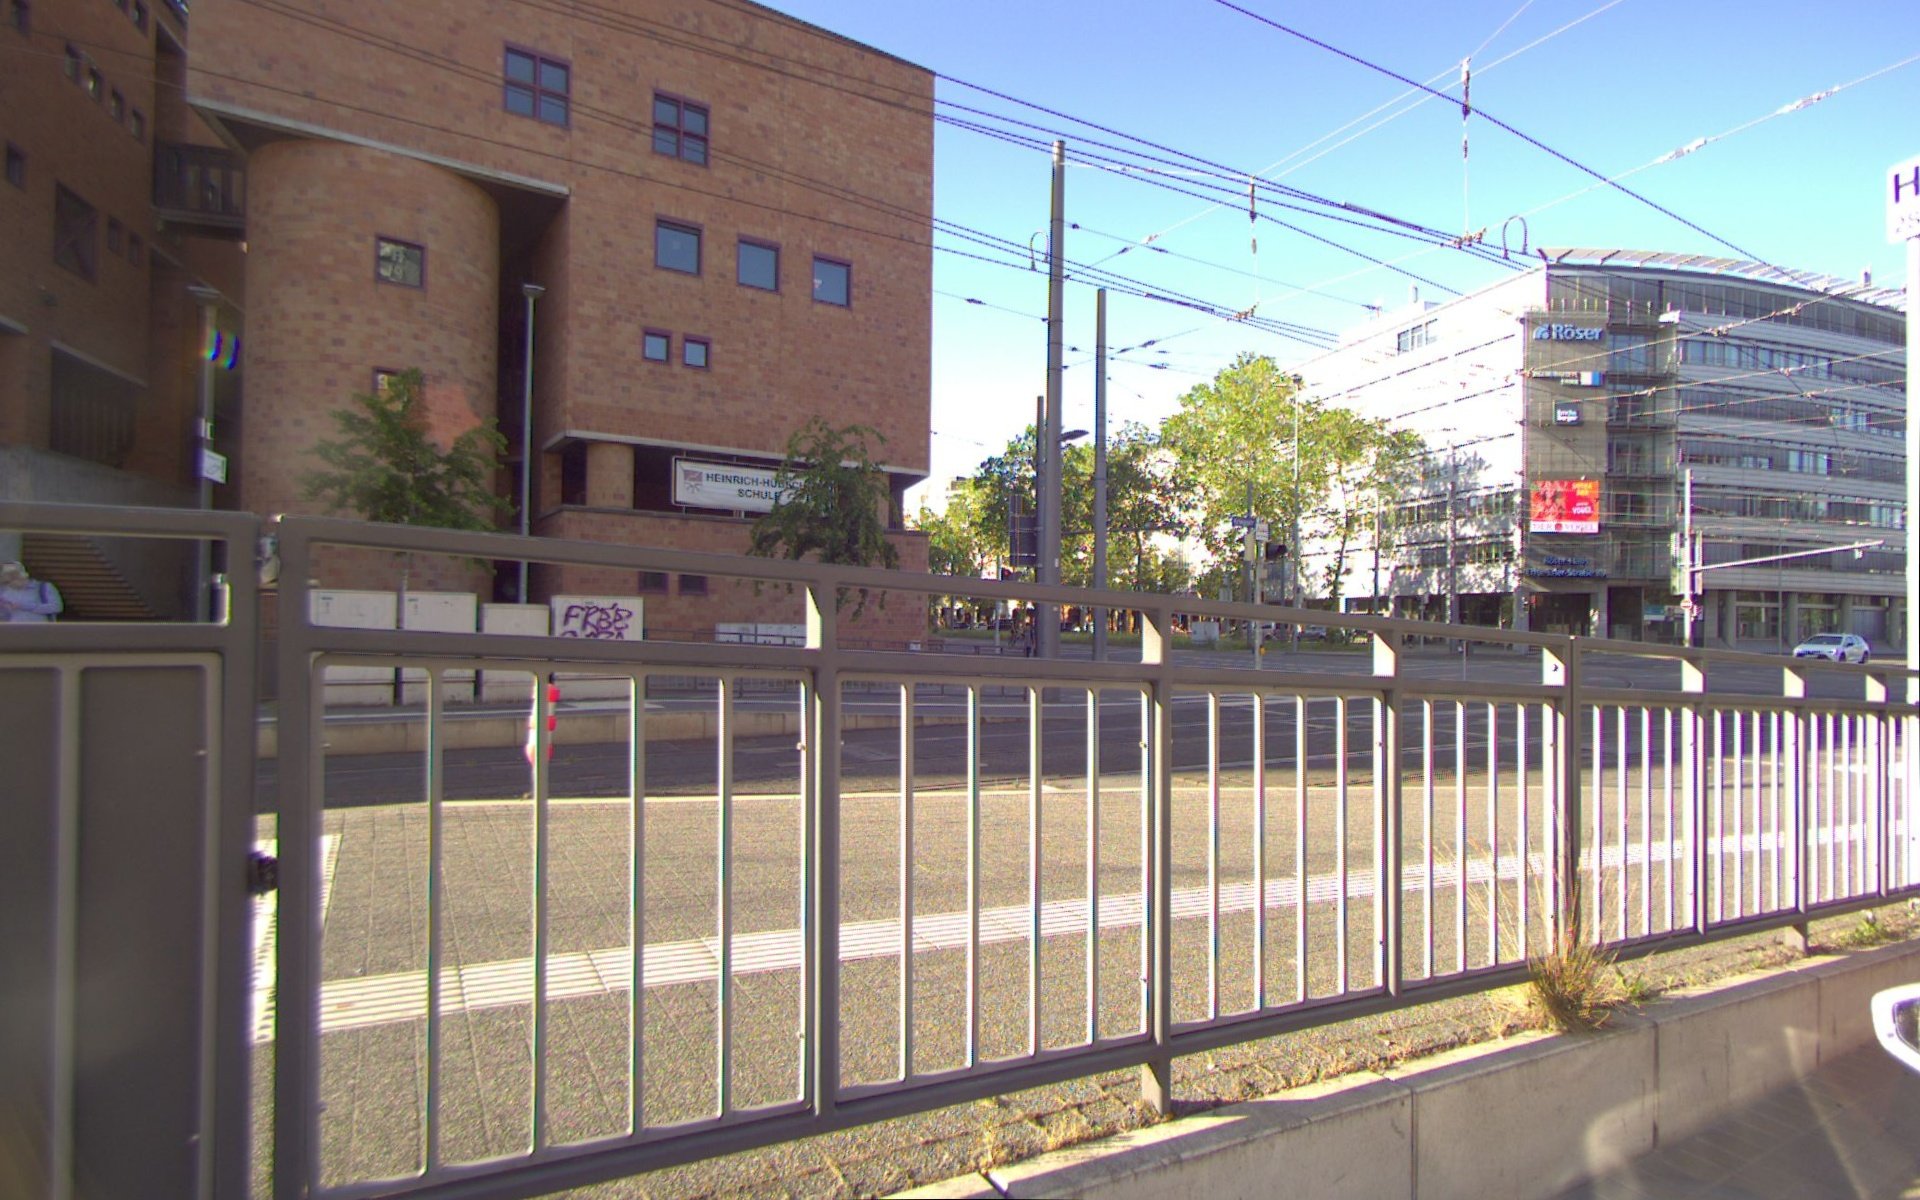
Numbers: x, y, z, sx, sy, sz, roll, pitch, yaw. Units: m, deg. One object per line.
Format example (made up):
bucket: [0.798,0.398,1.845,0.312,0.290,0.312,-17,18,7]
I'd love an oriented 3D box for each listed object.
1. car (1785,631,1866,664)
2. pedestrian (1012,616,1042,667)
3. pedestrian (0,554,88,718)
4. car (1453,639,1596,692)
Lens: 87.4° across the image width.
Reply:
car: [40.880,2.205,47.416,4.484,1.449,1.814,1,-1,-35]
pedestrian: [2.315,1.440,34.610,0.785,1.714,0.587,2,0,-29]
pedestrian: [-9.684,0.369,10.540,0.679,1.656,0.662,2,0,-34]
car: [13.671,1.559,24.385,2.841,1.077,1.238,2,0,40]
